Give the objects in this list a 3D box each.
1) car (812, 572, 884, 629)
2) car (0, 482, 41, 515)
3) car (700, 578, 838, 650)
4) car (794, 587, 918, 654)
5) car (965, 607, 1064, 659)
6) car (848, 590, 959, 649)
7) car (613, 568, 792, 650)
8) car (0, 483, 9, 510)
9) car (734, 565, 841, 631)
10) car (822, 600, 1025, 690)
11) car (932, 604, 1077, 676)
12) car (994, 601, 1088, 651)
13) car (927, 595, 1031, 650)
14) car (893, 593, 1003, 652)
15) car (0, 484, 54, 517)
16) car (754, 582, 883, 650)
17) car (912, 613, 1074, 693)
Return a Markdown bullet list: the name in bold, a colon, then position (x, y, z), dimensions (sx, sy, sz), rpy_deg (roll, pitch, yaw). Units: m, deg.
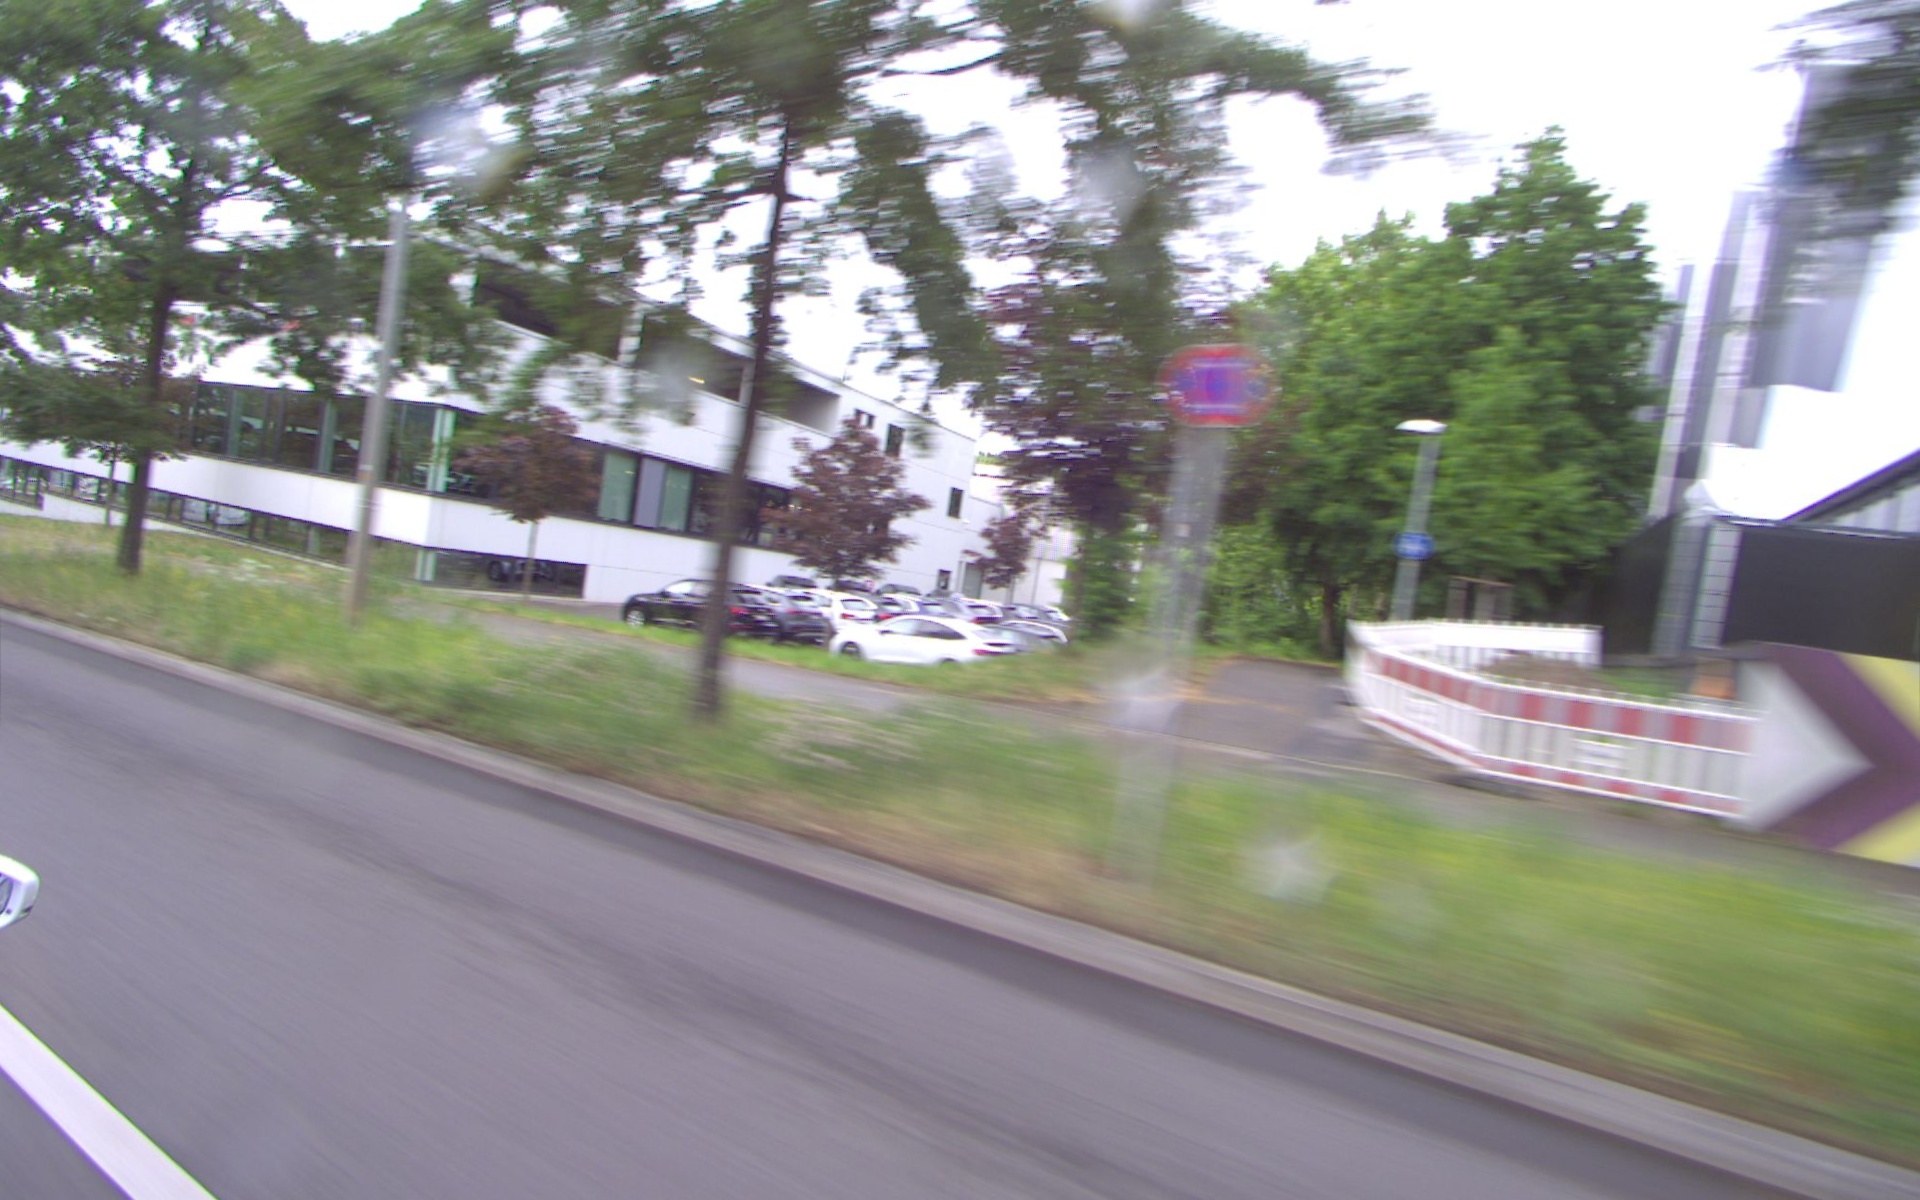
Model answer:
- **car**: position (-4.798, -0.012, 42.597), dimensions (1.681, 1.698, 4.501), rpy_deg (8, 3, -23)
- **car**: position (-51.970, -5.614, 53.295), dimensions (2.006, 1.519, 4.403), rpy_deg (6, 0, 30)
- **car**: position (-5.577, 0.392, 29.301), dimensions (3.580, 1.698, 1.699), rpy_deg (6, 2, 29)
- **car**: position (-3.462, 0.689, 33.437), dimensions (3.580, 1.694, 1.703), rpy_deg (6, -3, 29)
- **car**: position (2.260, 1.375, 41.931), dimensions (3.580, 1.695, 1.702), rpy_deg (6, -2, 29)
- **car**: position (-2.028, 0.684, 35.736), dimensions (3.462, 1.698, 1.698), rpy_deg (6, 2, 29)
- **car**: position (-6.966, 0.235, 27.135), dimensions (4.511, 1.697, 1.905), rpy_deg (6, 1, 30)
- **car**: position (-54.649, -5.899, 54.329), dimensions (1.858, 1.445, 4.403), rpy_deg (6, 0, 30)
- **car**: position (-6.587, -0.091, 38.107), dimensions (1.692, 1.698, 4.472), rpy_deg (6, 5, -43)
- **car**: position (-0.892, 1.029, 23.515), dimensions (4.385, 1.501, 1.702), rpy_deg (6, -2, 30)
- **car**: position (1.239, 1.116, 28.293), dimensions (3.580, 1.501, 1.702), rpy_deg (6, -2, 29)
- **car**: position (3.553, 1.122, 44.281), dimensions (3.580, 1.695, 1.702), rpy_deg (6, -2, 29)
- **car**: position (0.741, 0.878, 40.005), dimensions (3.580, 1.695, 1.702), rpy_deg (6, -2, 29)
- **car**: position (-0.445, 0.833, 37.423), dimensions (3.580, 1.695, 1.702), rpy_deg (6, -2, 29)
- **car**: position (-49.449, -5.272, 51.380), dimensions (1.805, 1.395, 4.327), rpy_deg (6, 0, 27)
- **car**: position (-4.422, 0.478, 31.315), dimensions (3.580, 1.698, 1.699), rpy_deg (6, 2, 29)
- **car**: position (0.817, 1.332, 25.425), dimensions (3.580, 1.501, 1.702), rpy_deg (6, -2, 29)
